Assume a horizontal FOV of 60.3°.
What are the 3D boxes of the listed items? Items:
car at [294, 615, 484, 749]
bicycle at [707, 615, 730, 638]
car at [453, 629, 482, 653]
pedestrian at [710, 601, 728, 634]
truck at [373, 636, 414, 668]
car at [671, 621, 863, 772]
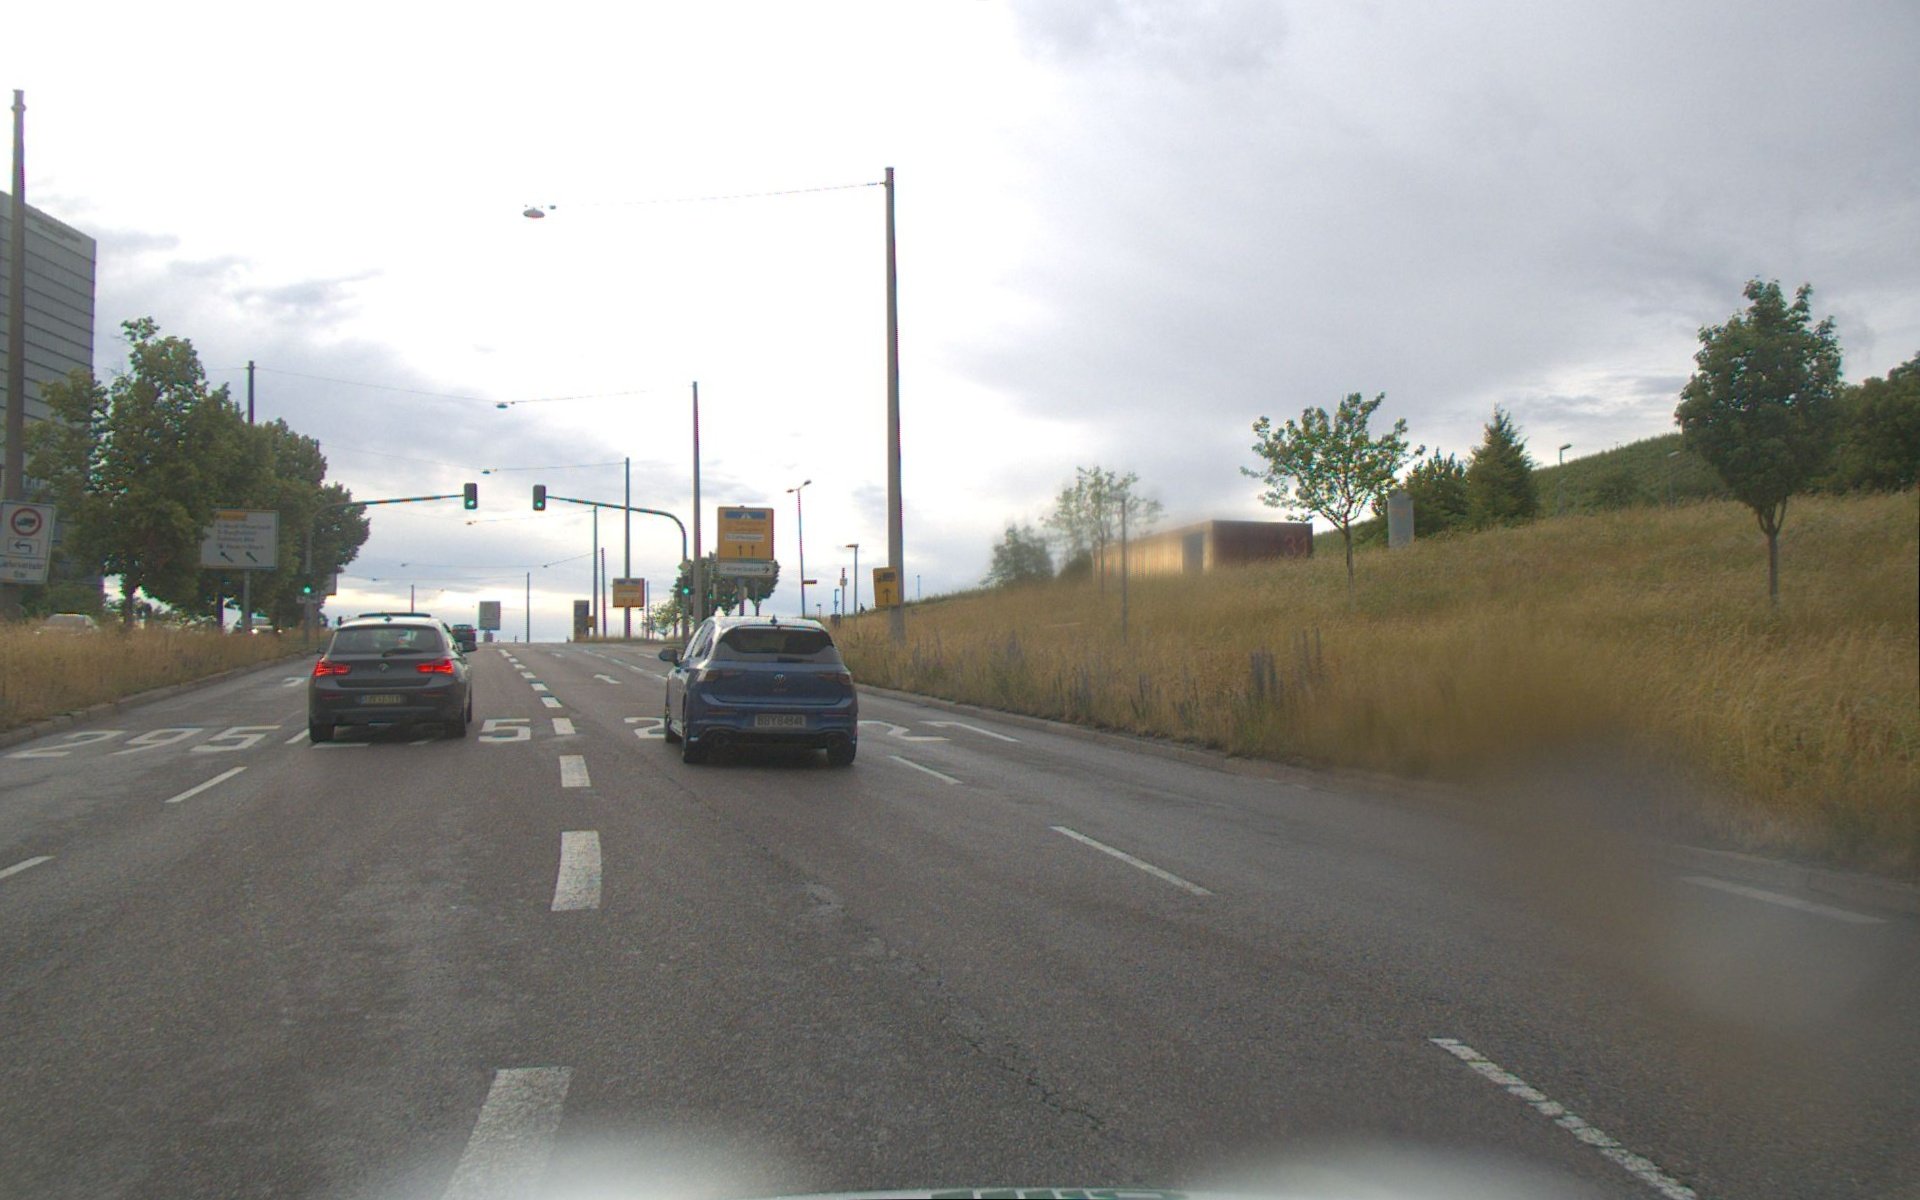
[{"bbox_3d":[-6.963,0.953,20.535,1.837,1.487,3.961,1,-1,-14],"label":"car"},{"bbox_3d":[-11.789,1.289,80.629,0.625,1.124,1.739,1,-1,-25],"label":"bicycle"},{"bbox_3d":[-34.034,2.810,114.319,1.693,1.568,3.688,3,-2,-15],"label":"car"},{"bbox_3d":[-11.718,0.836,80.437,0.624,1.598,0.888,0,-1,-25],"label":"pedestrian"},{"bbox_3d":[-62.545,5.773,182.554,2.643,3.277,6.469,3,-5,-34],"label":"truck"},{"bbox_3d":[-2.124,0.944,17.680,1.804,1.418,3.991,0,-1,-9],"label":"car"}]
